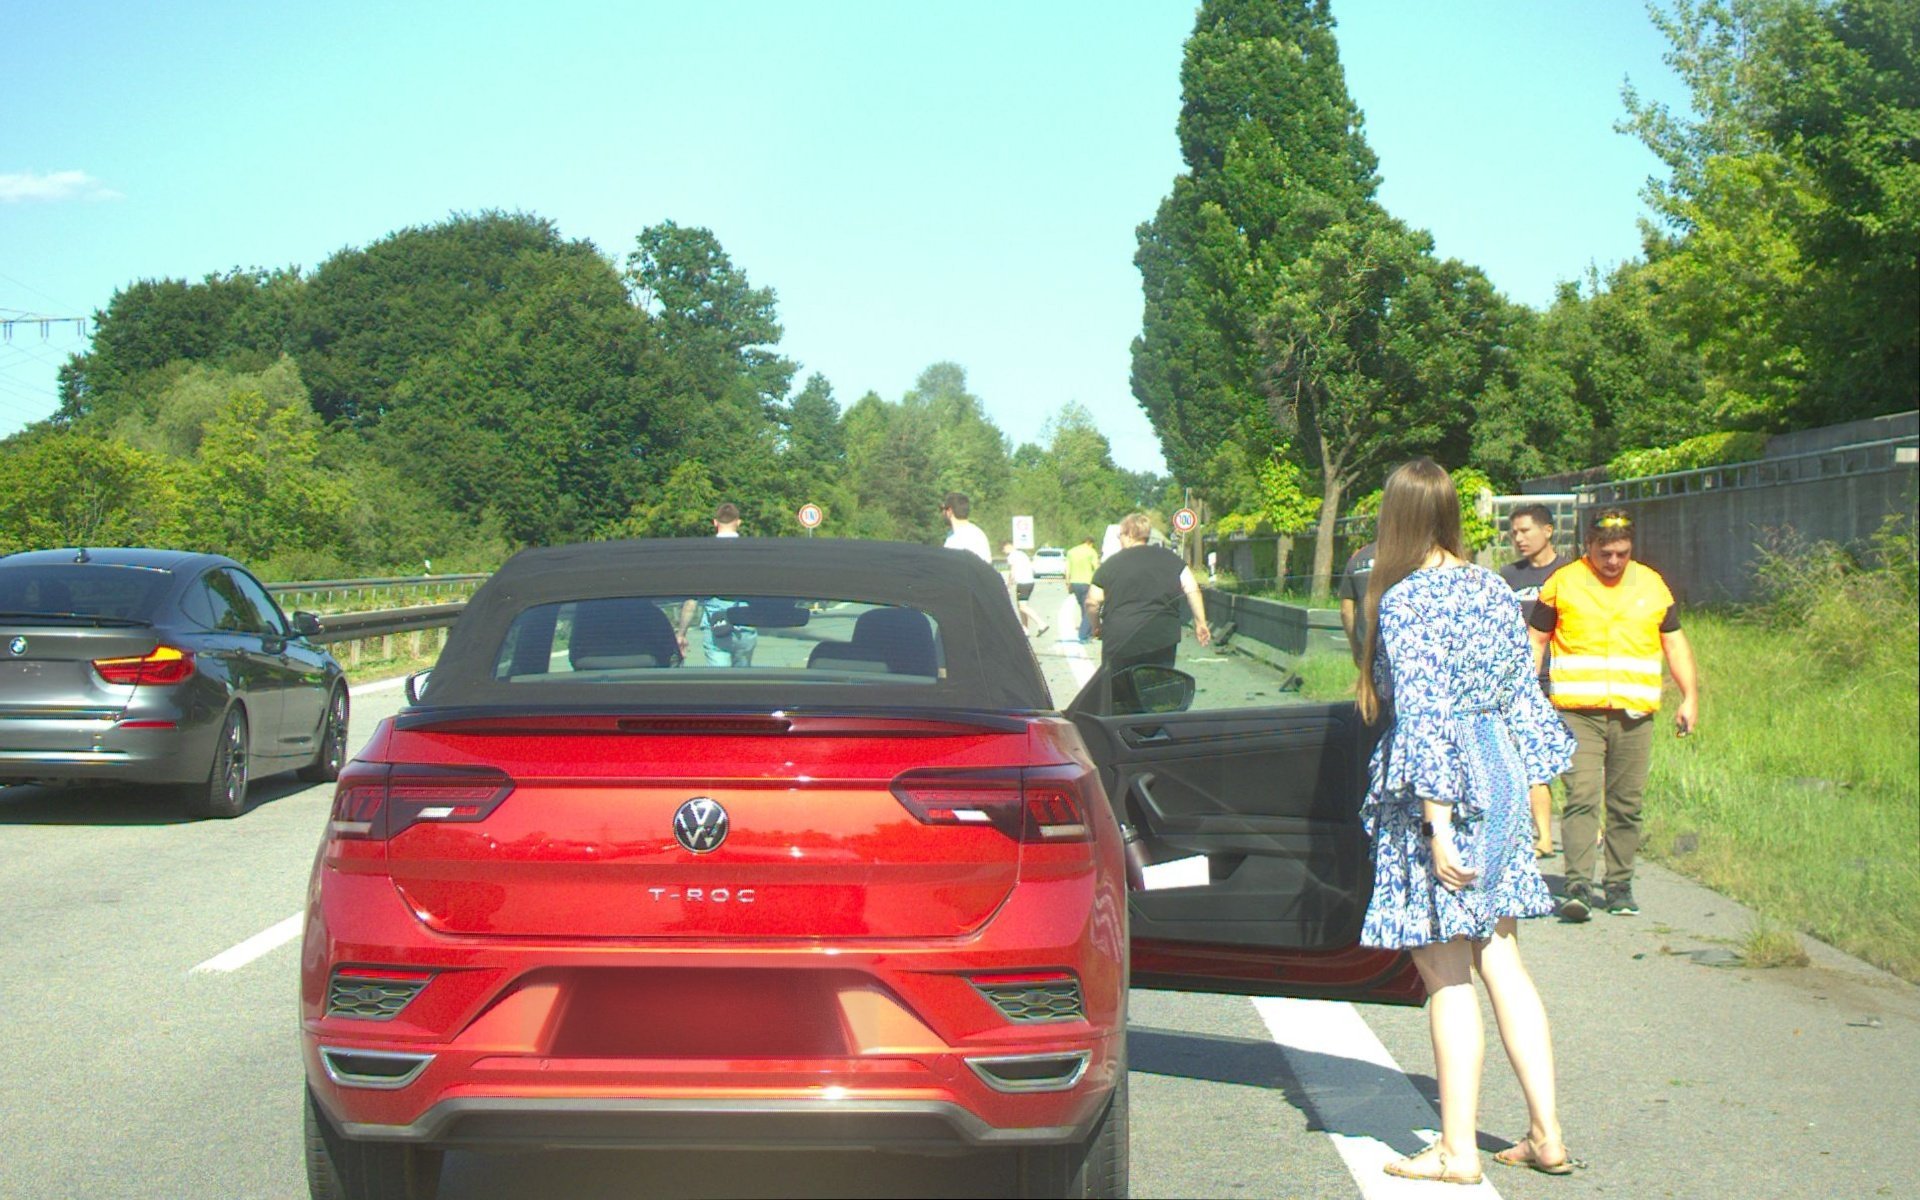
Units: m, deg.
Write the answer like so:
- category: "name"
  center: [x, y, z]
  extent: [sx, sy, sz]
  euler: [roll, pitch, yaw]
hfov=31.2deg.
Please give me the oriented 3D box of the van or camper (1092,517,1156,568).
- category: "van or camper"
  center: [7.709, -2.679, 160.991]
  extent: [1.995, 2.308, 4.467]
  euler: [1, 1, 16]

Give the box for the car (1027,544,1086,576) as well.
- category: "car"
  center: [4.559, -1.907, 162.145]
  extent: [1.734, 1.482, 4.207]
  euler: [1, 1, 17]

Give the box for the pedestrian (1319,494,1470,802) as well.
- category: "pedestrian"
  center: [2.553, 0.272, 20.148]
  extent: [0.812, 1.753, 0.828]
  euler: [1, 0, 10]

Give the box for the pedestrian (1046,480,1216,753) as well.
- category: "pedestrian"
  center: [1.210, 0.104, 24.584]
  extent: [1.090, 1.876, 1.069]
  euler: [-2, 1, -1]

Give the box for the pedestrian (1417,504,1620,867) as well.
- category: "pedestrian"
  center: [2.722, 0.404, 16.826]
  extent: [0.895, 1.719, 0.754]
  euler: [1, 0, 4]

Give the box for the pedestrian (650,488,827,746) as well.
- category: "pedestrian"
  center: [-1.563, 0.111, 24.472]
  extent: [1.104, 1.782, 1.091]
  euler: [1, 0, 4]

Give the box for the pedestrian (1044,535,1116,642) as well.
- category: "pedestrian"
  center: [1.929, -0.182, 55.192]
  extent: [1.056, 1.683, 1.017]
  euler: [1, 0, 7]

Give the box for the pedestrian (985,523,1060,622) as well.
- category: "pedestrian"
  center: [1.072, -0.481, 59.529]
  extent: [1.113, 1.683, 0.973]
  euler: [1, 0, -9]

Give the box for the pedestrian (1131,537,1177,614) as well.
- category: "pedestrian"
  center: [4.287, -0.543, 75.943]
  extent: [0.996, 1.683, 1.010]
  euler: [1, 0, 4]

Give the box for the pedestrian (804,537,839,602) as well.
- category: "pedestrian"
  center: [-3.626, -0.793, 89.955]
  extent: [0.792, 1.683, 0.792]
  euler: [1, 0, 6]

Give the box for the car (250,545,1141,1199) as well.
- category: "car"
  center: [-0.510, 0.614, 8.839]
  extent: [1.732, 1.482, 4.210]
  euler: [1, 1, 0]

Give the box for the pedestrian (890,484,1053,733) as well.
- category: "pedestrian"
  center: [0.076, 0.055, 27.136]
  extent: [1.105, 1.906, 1.257]
  euler: [-1, 1, -7]

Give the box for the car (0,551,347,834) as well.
- category: "car"
  center: [-4.795, 0.445, 19.884]
  extent: [1.694, 1.421, 4.334]
  euler: [1, 1, 0]

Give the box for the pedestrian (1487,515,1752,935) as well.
- category: "pedestrian"
  center: [2.696, 0.484, 14.189]
  extent: [0.958, 1.648, 1.278]
  euler: [-1, 1, 7]

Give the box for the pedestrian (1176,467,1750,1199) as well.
- category: "pedestrian"
  center: [1.174, 0.543, 8.221]
  extent: [0.889, 1.689, 1.129]
  euler: [-1, 1, -22]
